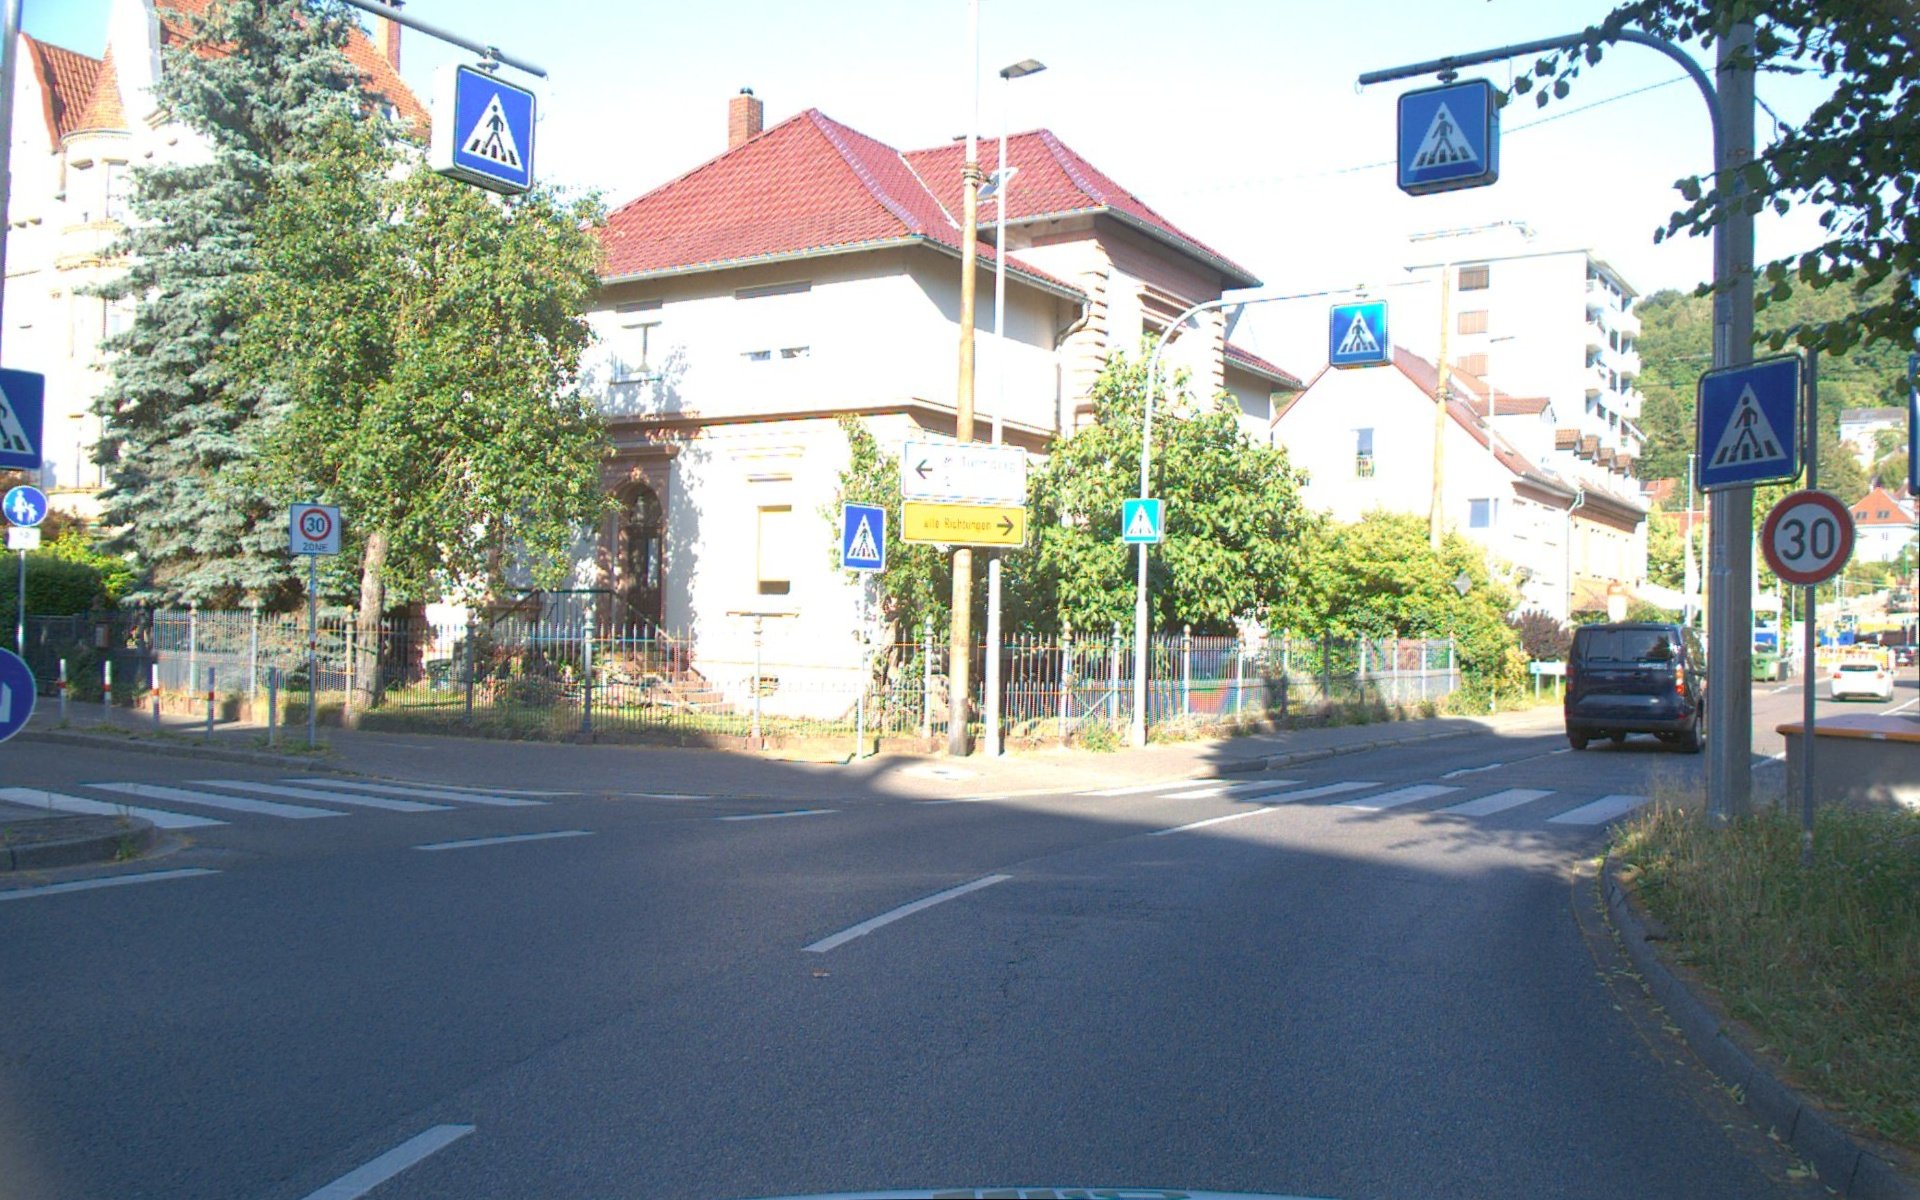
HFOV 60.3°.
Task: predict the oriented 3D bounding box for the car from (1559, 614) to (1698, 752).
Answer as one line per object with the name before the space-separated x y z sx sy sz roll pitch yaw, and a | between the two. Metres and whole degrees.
car | 11.125 1.311 27.370 1.954 2.049 3.997 1 -1 24

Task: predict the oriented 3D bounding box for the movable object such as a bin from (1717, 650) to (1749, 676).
movable object such as a bin | 39.782 3.243 85.150 1.397 1.249 0.959 1 -2 22

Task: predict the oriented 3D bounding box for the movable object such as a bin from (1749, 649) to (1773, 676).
movable object such as a bin | 41.056 3.209 84.800 1.014 1.326 0.959 1 -2 22

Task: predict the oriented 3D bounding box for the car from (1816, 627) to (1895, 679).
car | 31.952 1.899 59.109 1.952 1.747 4.000 1 -2 20
